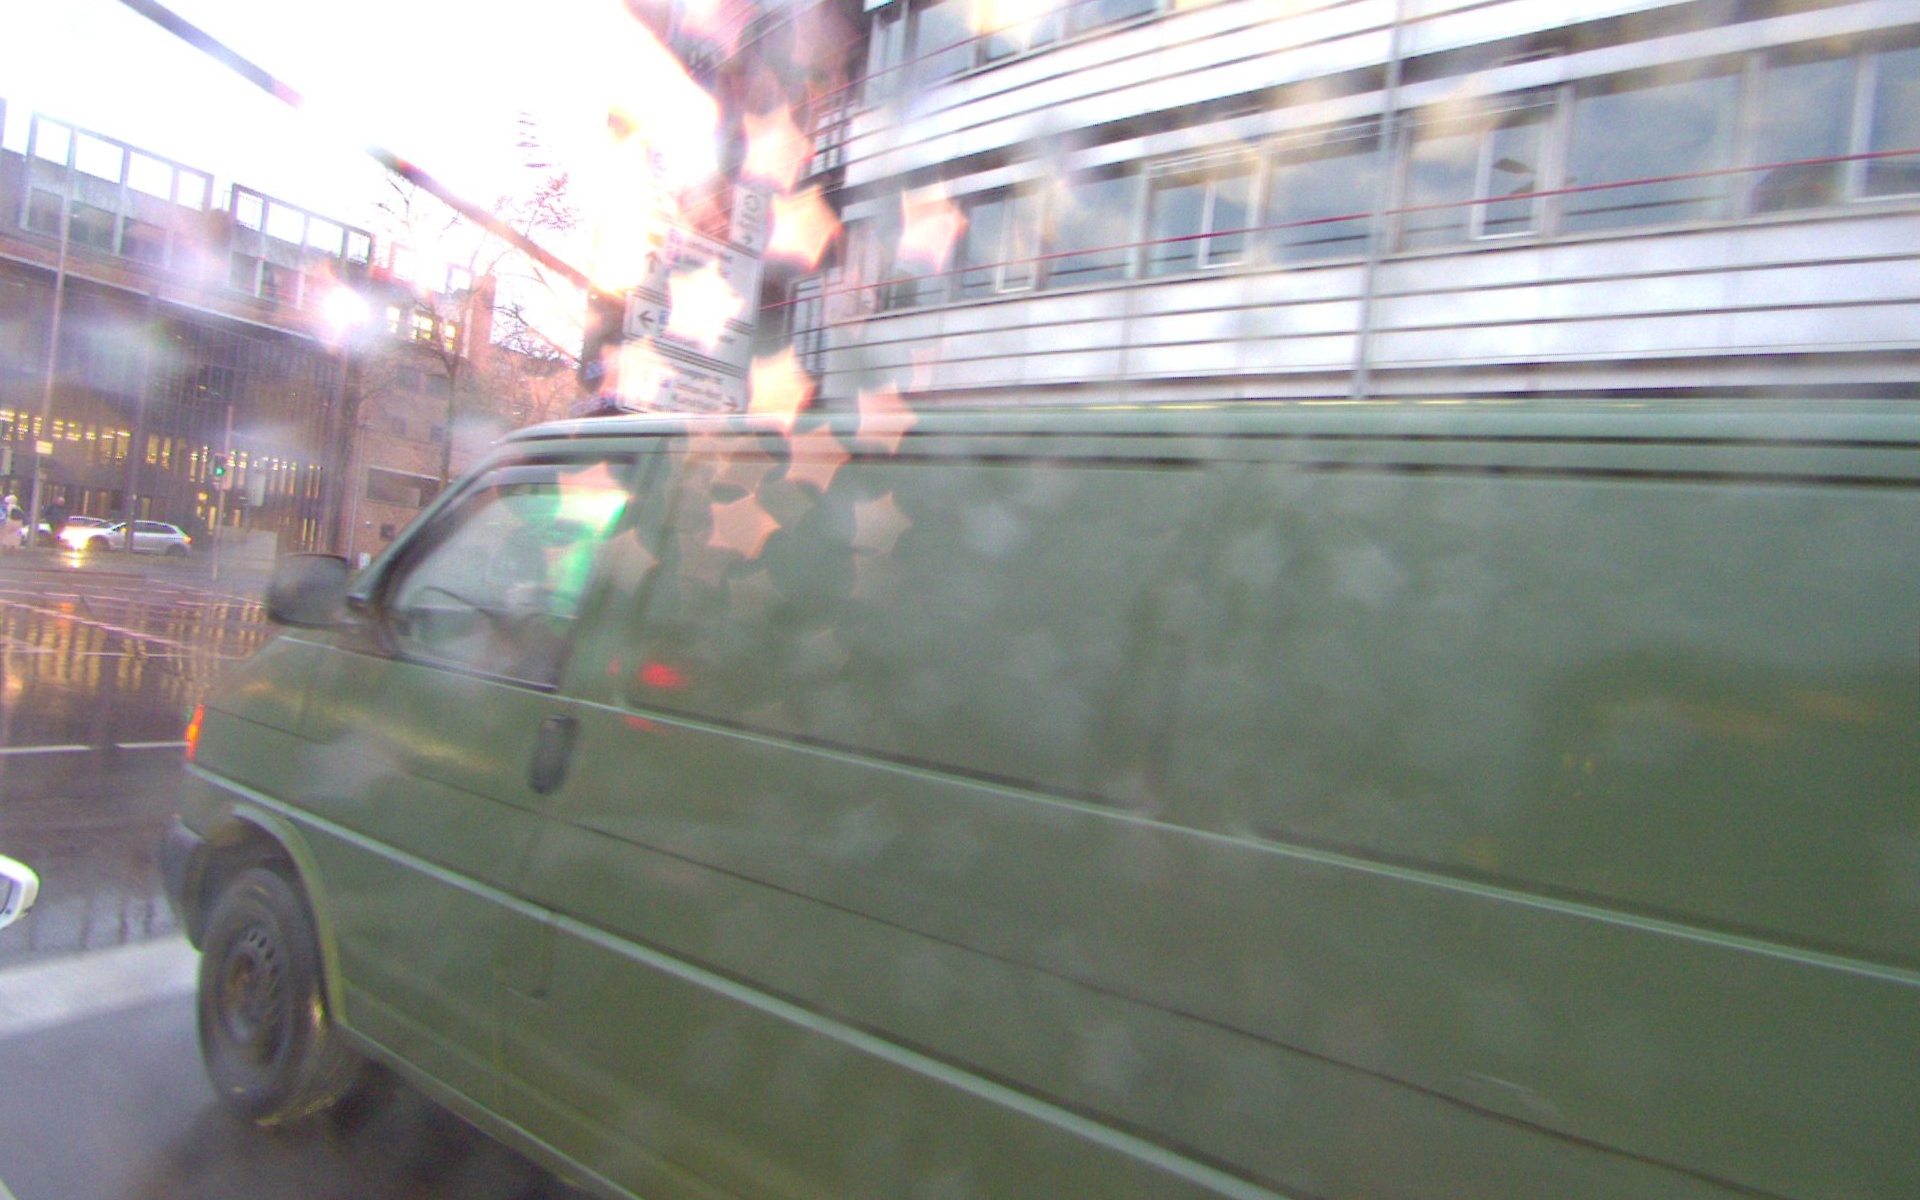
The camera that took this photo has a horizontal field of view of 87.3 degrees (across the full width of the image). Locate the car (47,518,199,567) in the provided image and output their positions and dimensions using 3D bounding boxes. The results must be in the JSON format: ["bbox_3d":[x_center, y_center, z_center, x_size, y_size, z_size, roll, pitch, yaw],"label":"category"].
[{"bbox_3d":[-31.374,-2.138,37.836,1.782,1.358,3.989,6,1,24],"label":"car"}]

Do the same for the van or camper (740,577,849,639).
[{"bbox_3d":[-6.284,0.356,38.777,1.807,1.952,4.749,6,-1,21],"label":"van or camper"}]

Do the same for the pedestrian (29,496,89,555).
[{"bbox_3d":[-30.126,-2.478,33.656,0.763,1.809,1.152,6,0,22],"label":"pedestrian"}]

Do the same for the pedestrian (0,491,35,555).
[{"bbox_3d":[-28.138,-2.286,29.788,0.721,1.809,0.736,6,0,18],"label":"pedestrian"}]

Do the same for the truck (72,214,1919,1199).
[{"bbox_3d":[-0.127,0.526,2.663,4.540,1.939,1.909,6,-2,31],"label":"truck"}]

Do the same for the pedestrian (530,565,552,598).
[{"bbox_3d":[-18.446,-0.799,44.247,0.470,1.381,0.606,6,0,30],"label":"pedestrian"}]

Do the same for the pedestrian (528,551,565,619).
[{"bbox_3d":[-11.738,-0.430,28.577,0.640,1.833,0.798,6,0,-12],"label":"pedestrian"}]
